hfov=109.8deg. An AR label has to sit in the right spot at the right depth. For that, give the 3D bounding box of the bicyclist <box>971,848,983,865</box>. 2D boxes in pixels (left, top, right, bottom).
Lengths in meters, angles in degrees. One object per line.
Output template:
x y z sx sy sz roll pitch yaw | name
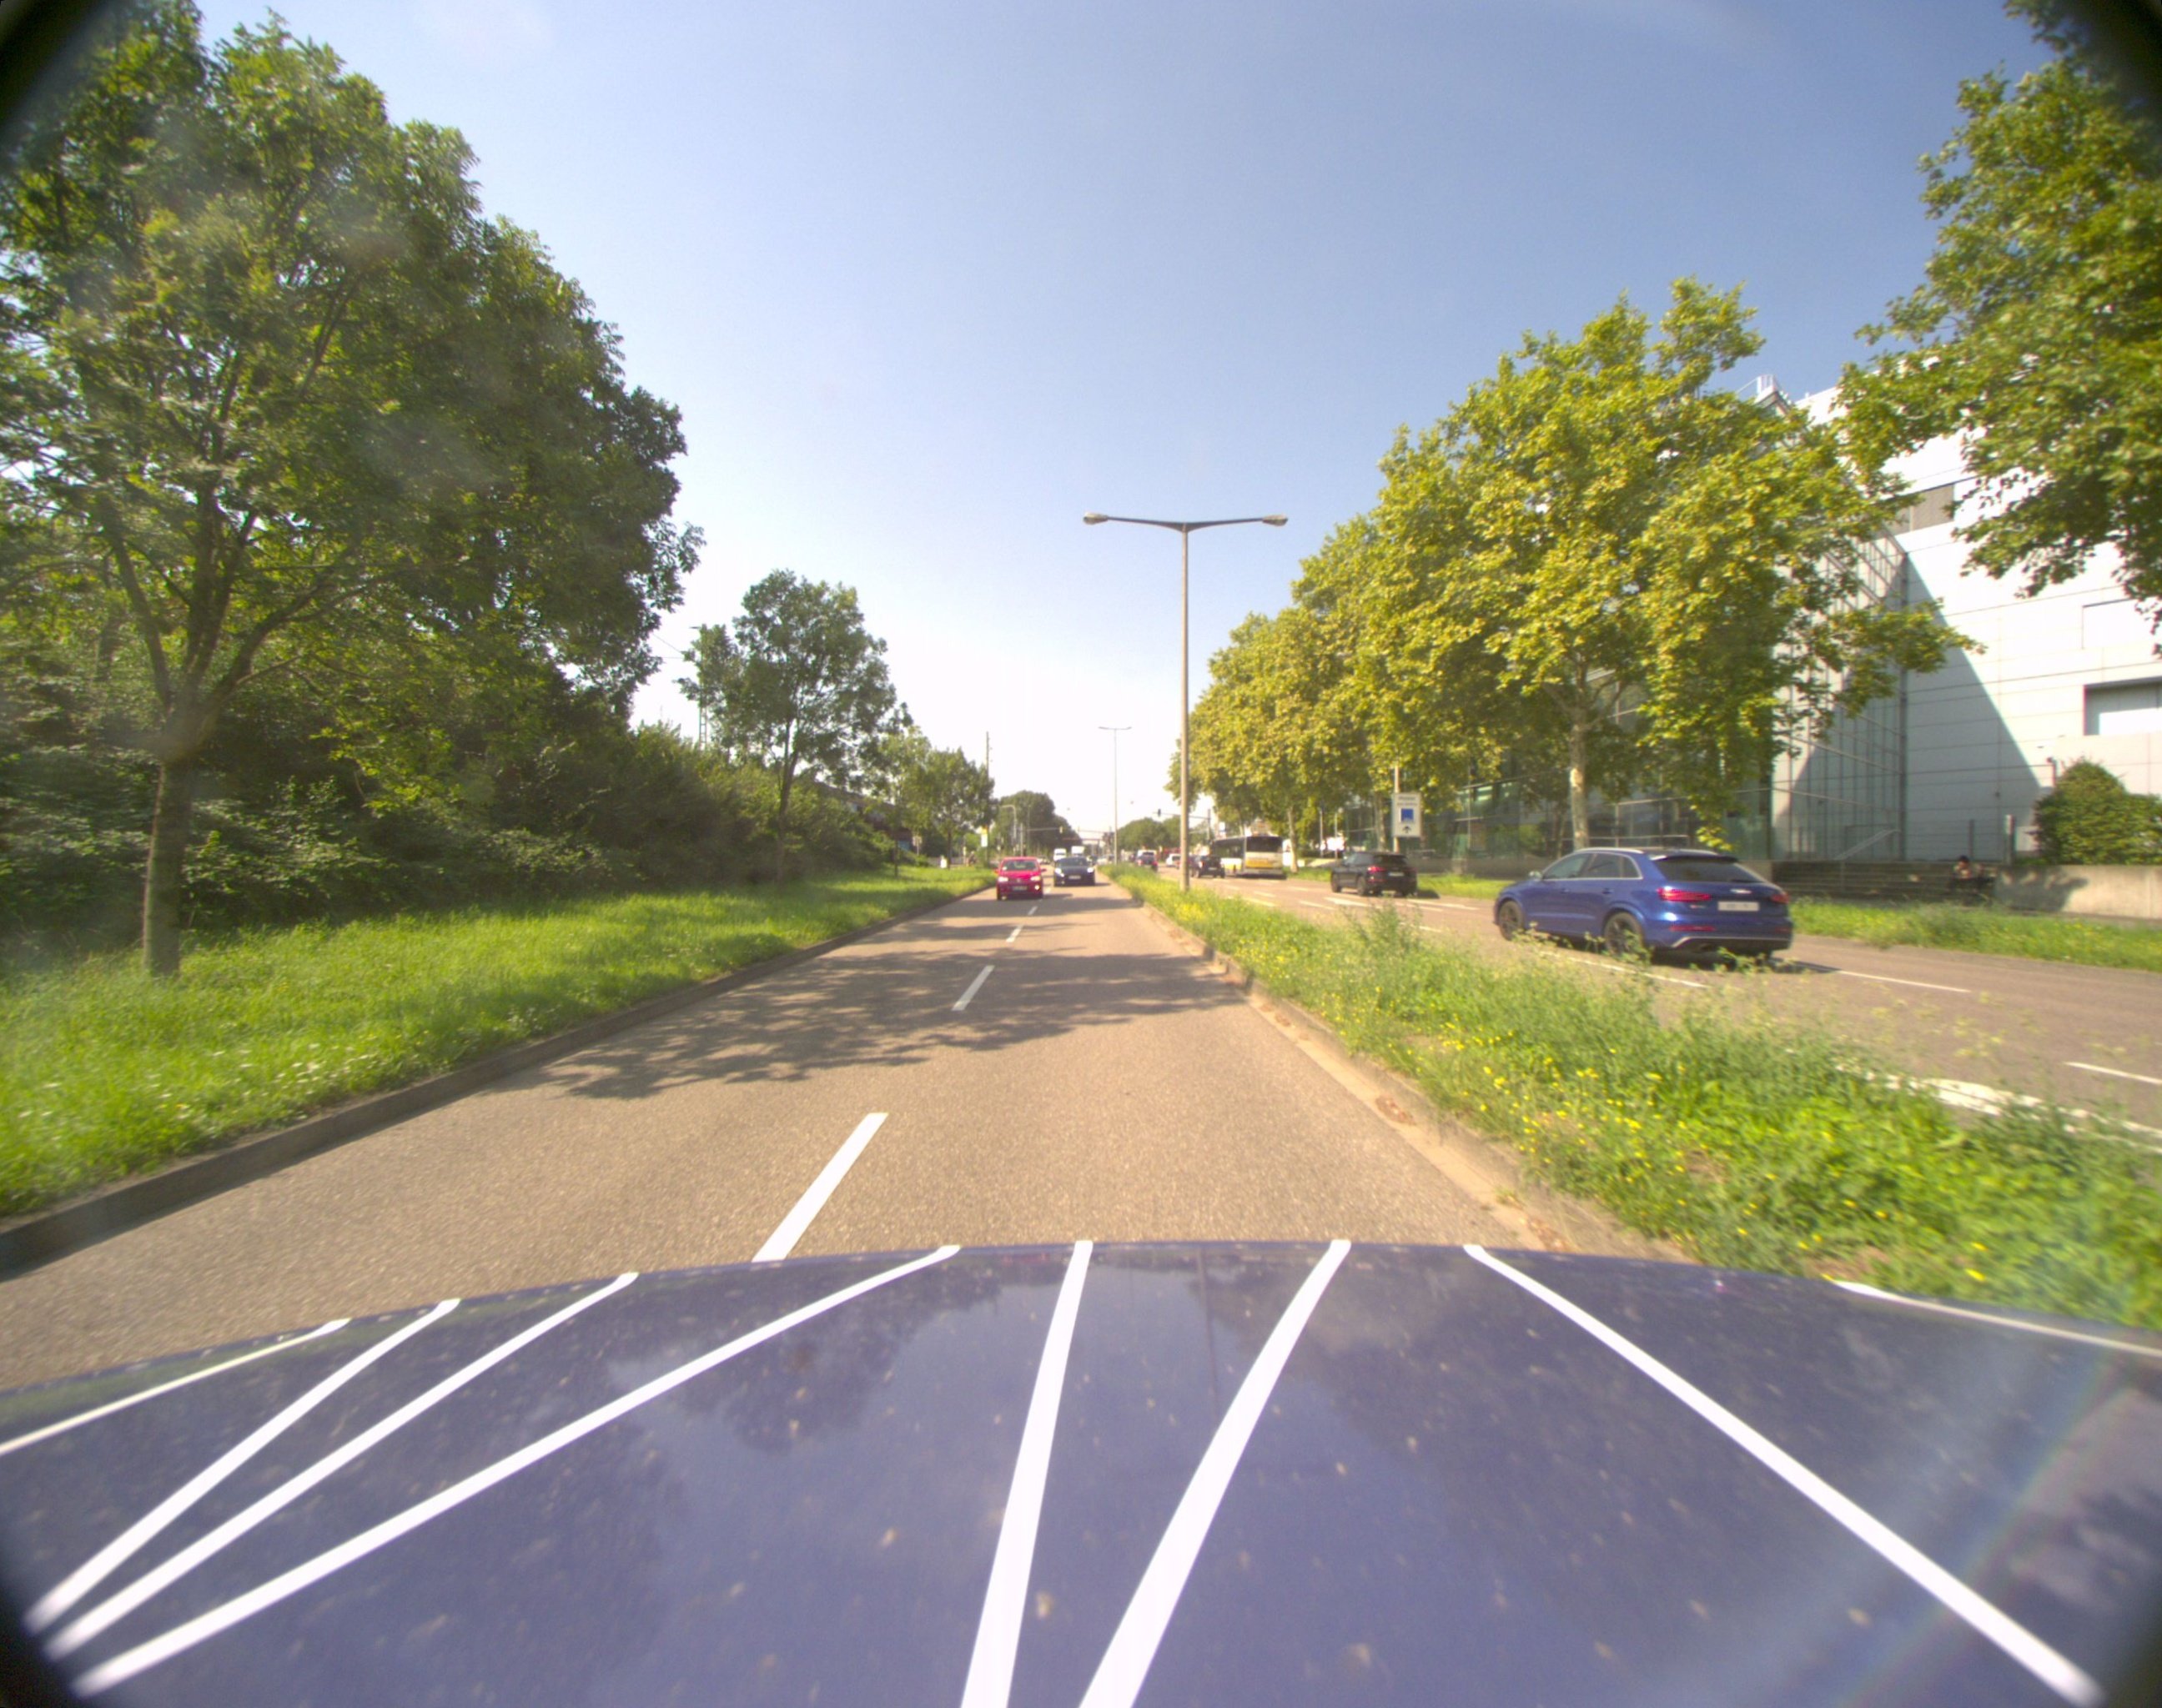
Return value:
-10.080 0.234 73.554 0.971 1.648 0.711 0 0 -27 | bicyclist

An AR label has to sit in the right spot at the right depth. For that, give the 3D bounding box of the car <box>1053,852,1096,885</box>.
-0.358 0.708 36.702 1.643 1.458 3.552 -3 -1 -6 | car

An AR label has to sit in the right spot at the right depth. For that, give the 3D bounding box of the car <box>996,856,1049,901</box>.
-2.192 0.856 27.576 1.644 1.458 3.551 -2 0 -8 | car

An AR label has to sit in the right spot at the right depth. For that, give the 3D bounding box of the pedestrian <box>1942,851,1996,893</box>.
23.725 0.489 20.312 0.737 1.103 0.562 -2 -2 -5 | pedestrian

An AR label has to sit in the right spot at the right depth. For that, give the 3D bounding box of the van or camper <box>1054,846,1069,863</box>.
-3.254 0.133 129.097 2.248 2.467 6.868 -2 -2 0 | van or camper

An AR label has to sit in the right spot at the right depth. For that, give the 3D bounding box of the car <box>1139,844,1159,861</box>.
7.918 -0.132 89.469 1.932 1.948 5.190 1 -1 1 | car

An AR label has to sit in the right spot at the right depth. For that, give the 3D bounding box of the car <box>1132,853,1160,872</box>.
5.277 0.663 62.029 1.850 1.481 4.643 1 0 0 | car

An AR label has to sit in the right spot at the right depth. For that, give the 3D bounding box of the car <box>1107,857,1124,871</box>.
3.777 1.088 84.078 1.618 1.526 4.101 2 -1 -1 | car

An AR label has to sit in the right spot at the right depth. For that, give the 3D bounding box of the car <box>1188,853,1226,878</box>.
7.952 0.670 48.277 1.709 1.481 4.312 -1 0 0 | car

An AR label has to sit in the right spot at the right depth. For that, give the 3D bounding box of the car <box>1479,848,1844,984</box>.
8.073 0.742 11.251 1.999 1.576 4.346 2 0 -1 | car

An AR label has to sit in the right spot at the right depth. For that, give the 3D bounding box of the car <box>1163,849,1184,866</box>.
11.003 0.433 90.473 1.932 1.885 3.975 1 0 -2 | car

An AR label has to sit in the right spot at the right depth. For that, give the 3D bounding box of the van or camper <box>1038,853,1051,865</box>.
-6.001 0.870 126.281 1.850 1.765 4.176 -2 -2 0 | van or camper

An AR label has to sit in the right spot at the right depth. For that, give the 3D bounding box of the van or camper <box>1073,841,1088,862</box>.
-0.043 -0.322 133.608 2.247 3.341 6.854 -2 -2 2 | van or camper

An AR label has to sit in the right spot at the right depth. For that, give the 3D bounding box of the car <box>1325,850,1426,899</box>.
10.805 0.692 28.272 1.850 1.596 4.610 2 0 -1 | car

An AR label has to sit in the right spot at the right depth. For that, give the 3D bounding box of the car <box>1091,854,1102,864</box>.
2.761 0.926 134.343 1.904 1.603 5.198 -2 -2 2 | car

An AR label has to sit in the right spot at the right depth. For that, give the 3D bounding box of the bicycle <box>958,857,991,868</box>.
-10.298 0.800 73.487 2.982 1.043 1.232 0 0 -27 | bicycle

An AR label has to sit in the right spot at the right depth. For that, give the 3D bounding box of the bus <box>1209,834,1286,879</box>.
11.061 0.119 51.756 2.669 2.678 10.904 1 0 -1 | bus

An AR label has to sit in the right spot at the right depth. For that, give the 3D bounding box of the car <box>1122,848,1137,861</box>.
7.560 0.156 118.392 1.932 1.946 5.212 0 -1 -2 | car
